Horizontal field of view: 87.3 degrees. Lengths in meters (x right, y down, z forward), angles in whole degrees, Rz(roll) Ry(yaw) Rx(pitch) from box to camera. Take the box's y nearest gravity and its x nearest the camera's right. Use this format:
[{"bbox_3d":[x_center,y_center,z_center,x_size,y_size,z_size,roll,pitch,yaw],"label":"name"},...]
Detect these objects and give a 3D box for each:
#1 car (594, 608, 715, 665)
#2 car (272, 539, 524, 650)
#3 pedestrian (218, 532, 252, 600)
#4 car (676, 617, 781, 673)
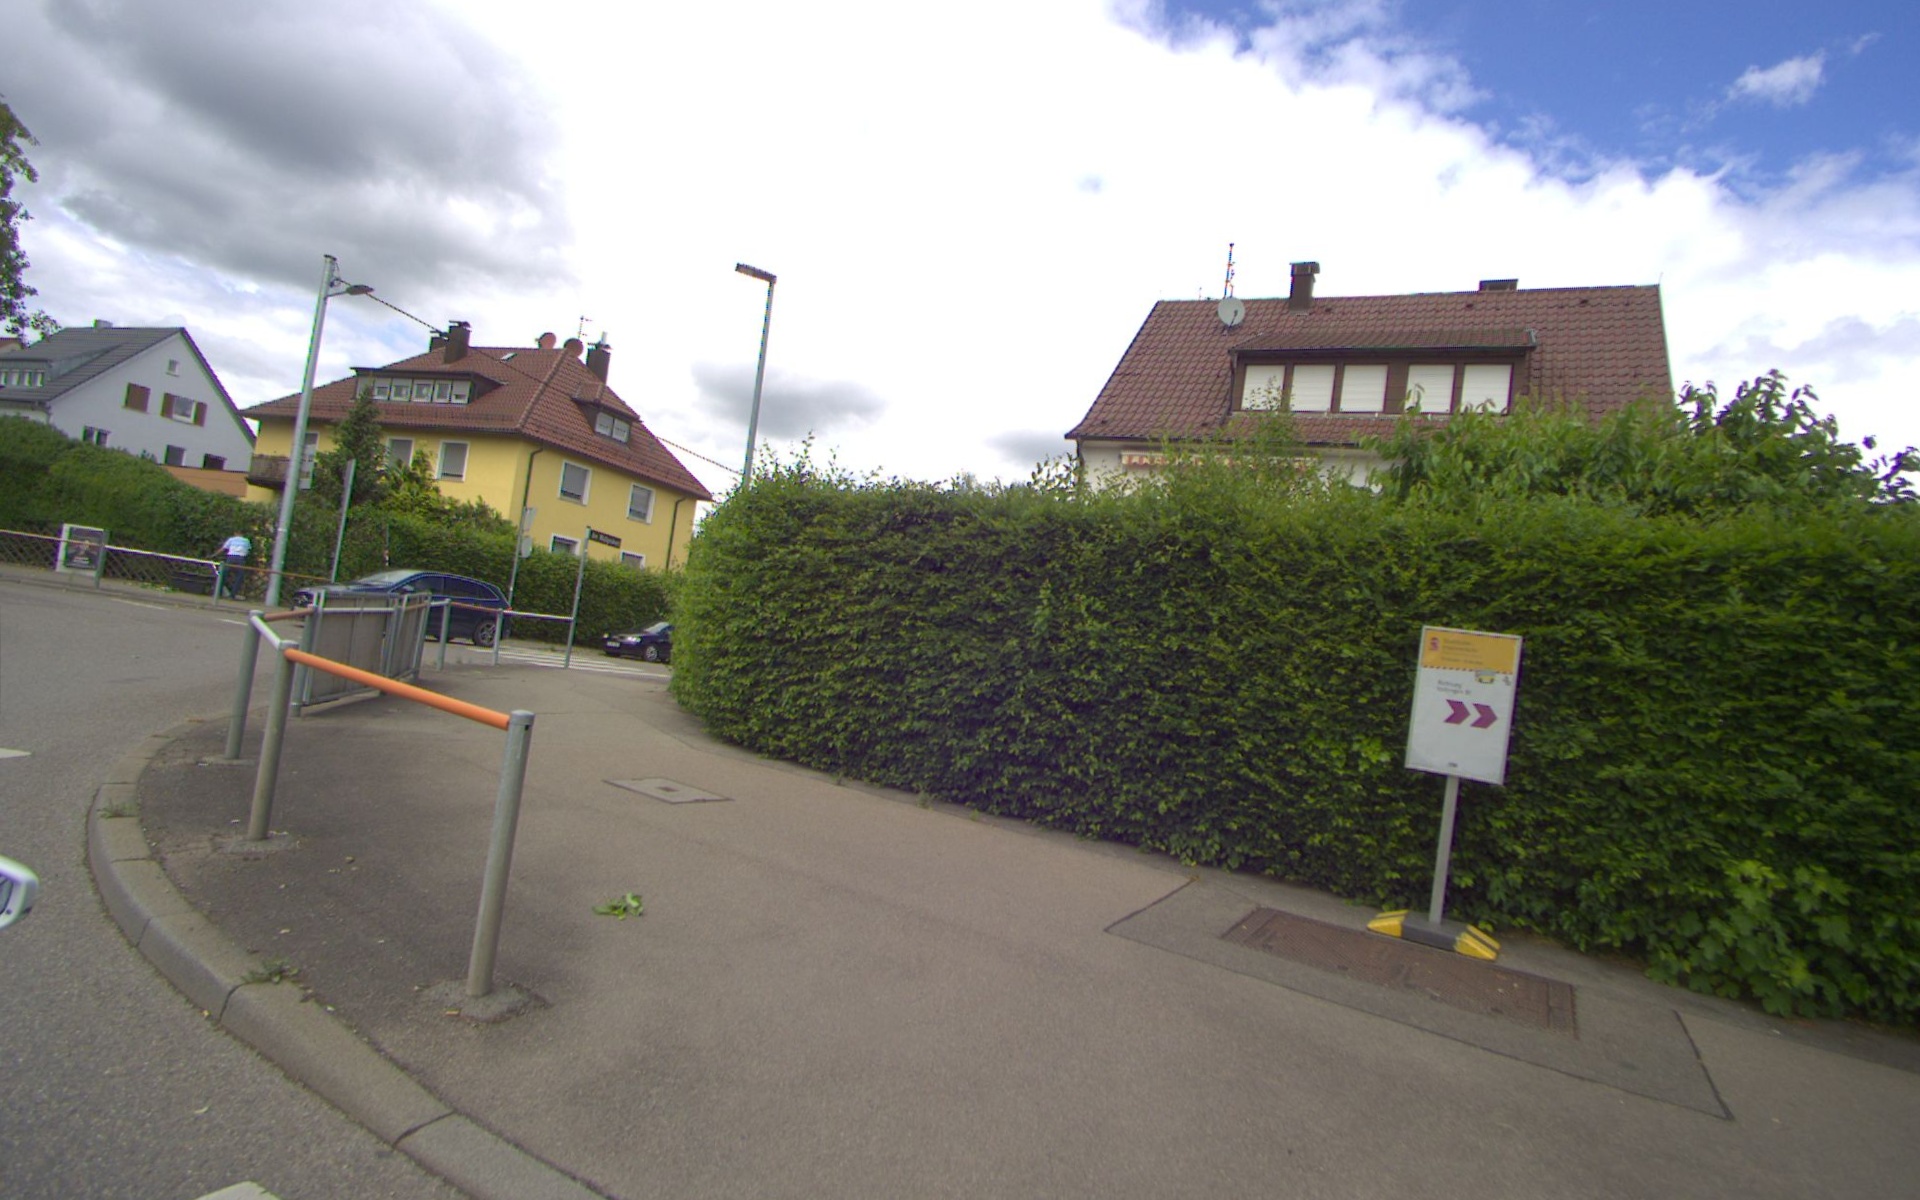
[{"bbox_3d":[-9.757,1.213,32.389,1.571,1.397,3.642,7,-3,25],"label":"car"},{"bbox_3d":[-12.007,-0.046,21.846,1.622,1.679,4.411,7,-4,31],"label":"car"},{"bbox_3d":[-17.366,-0.805,24.097,0.488,1.551,0.480,9,-2,-37],"label":"pedestrian"},{"bbox_3d":[-8.202,1.645,35.908,1.623,1.568,3.602,7,-3,25],"label":"car"}]
